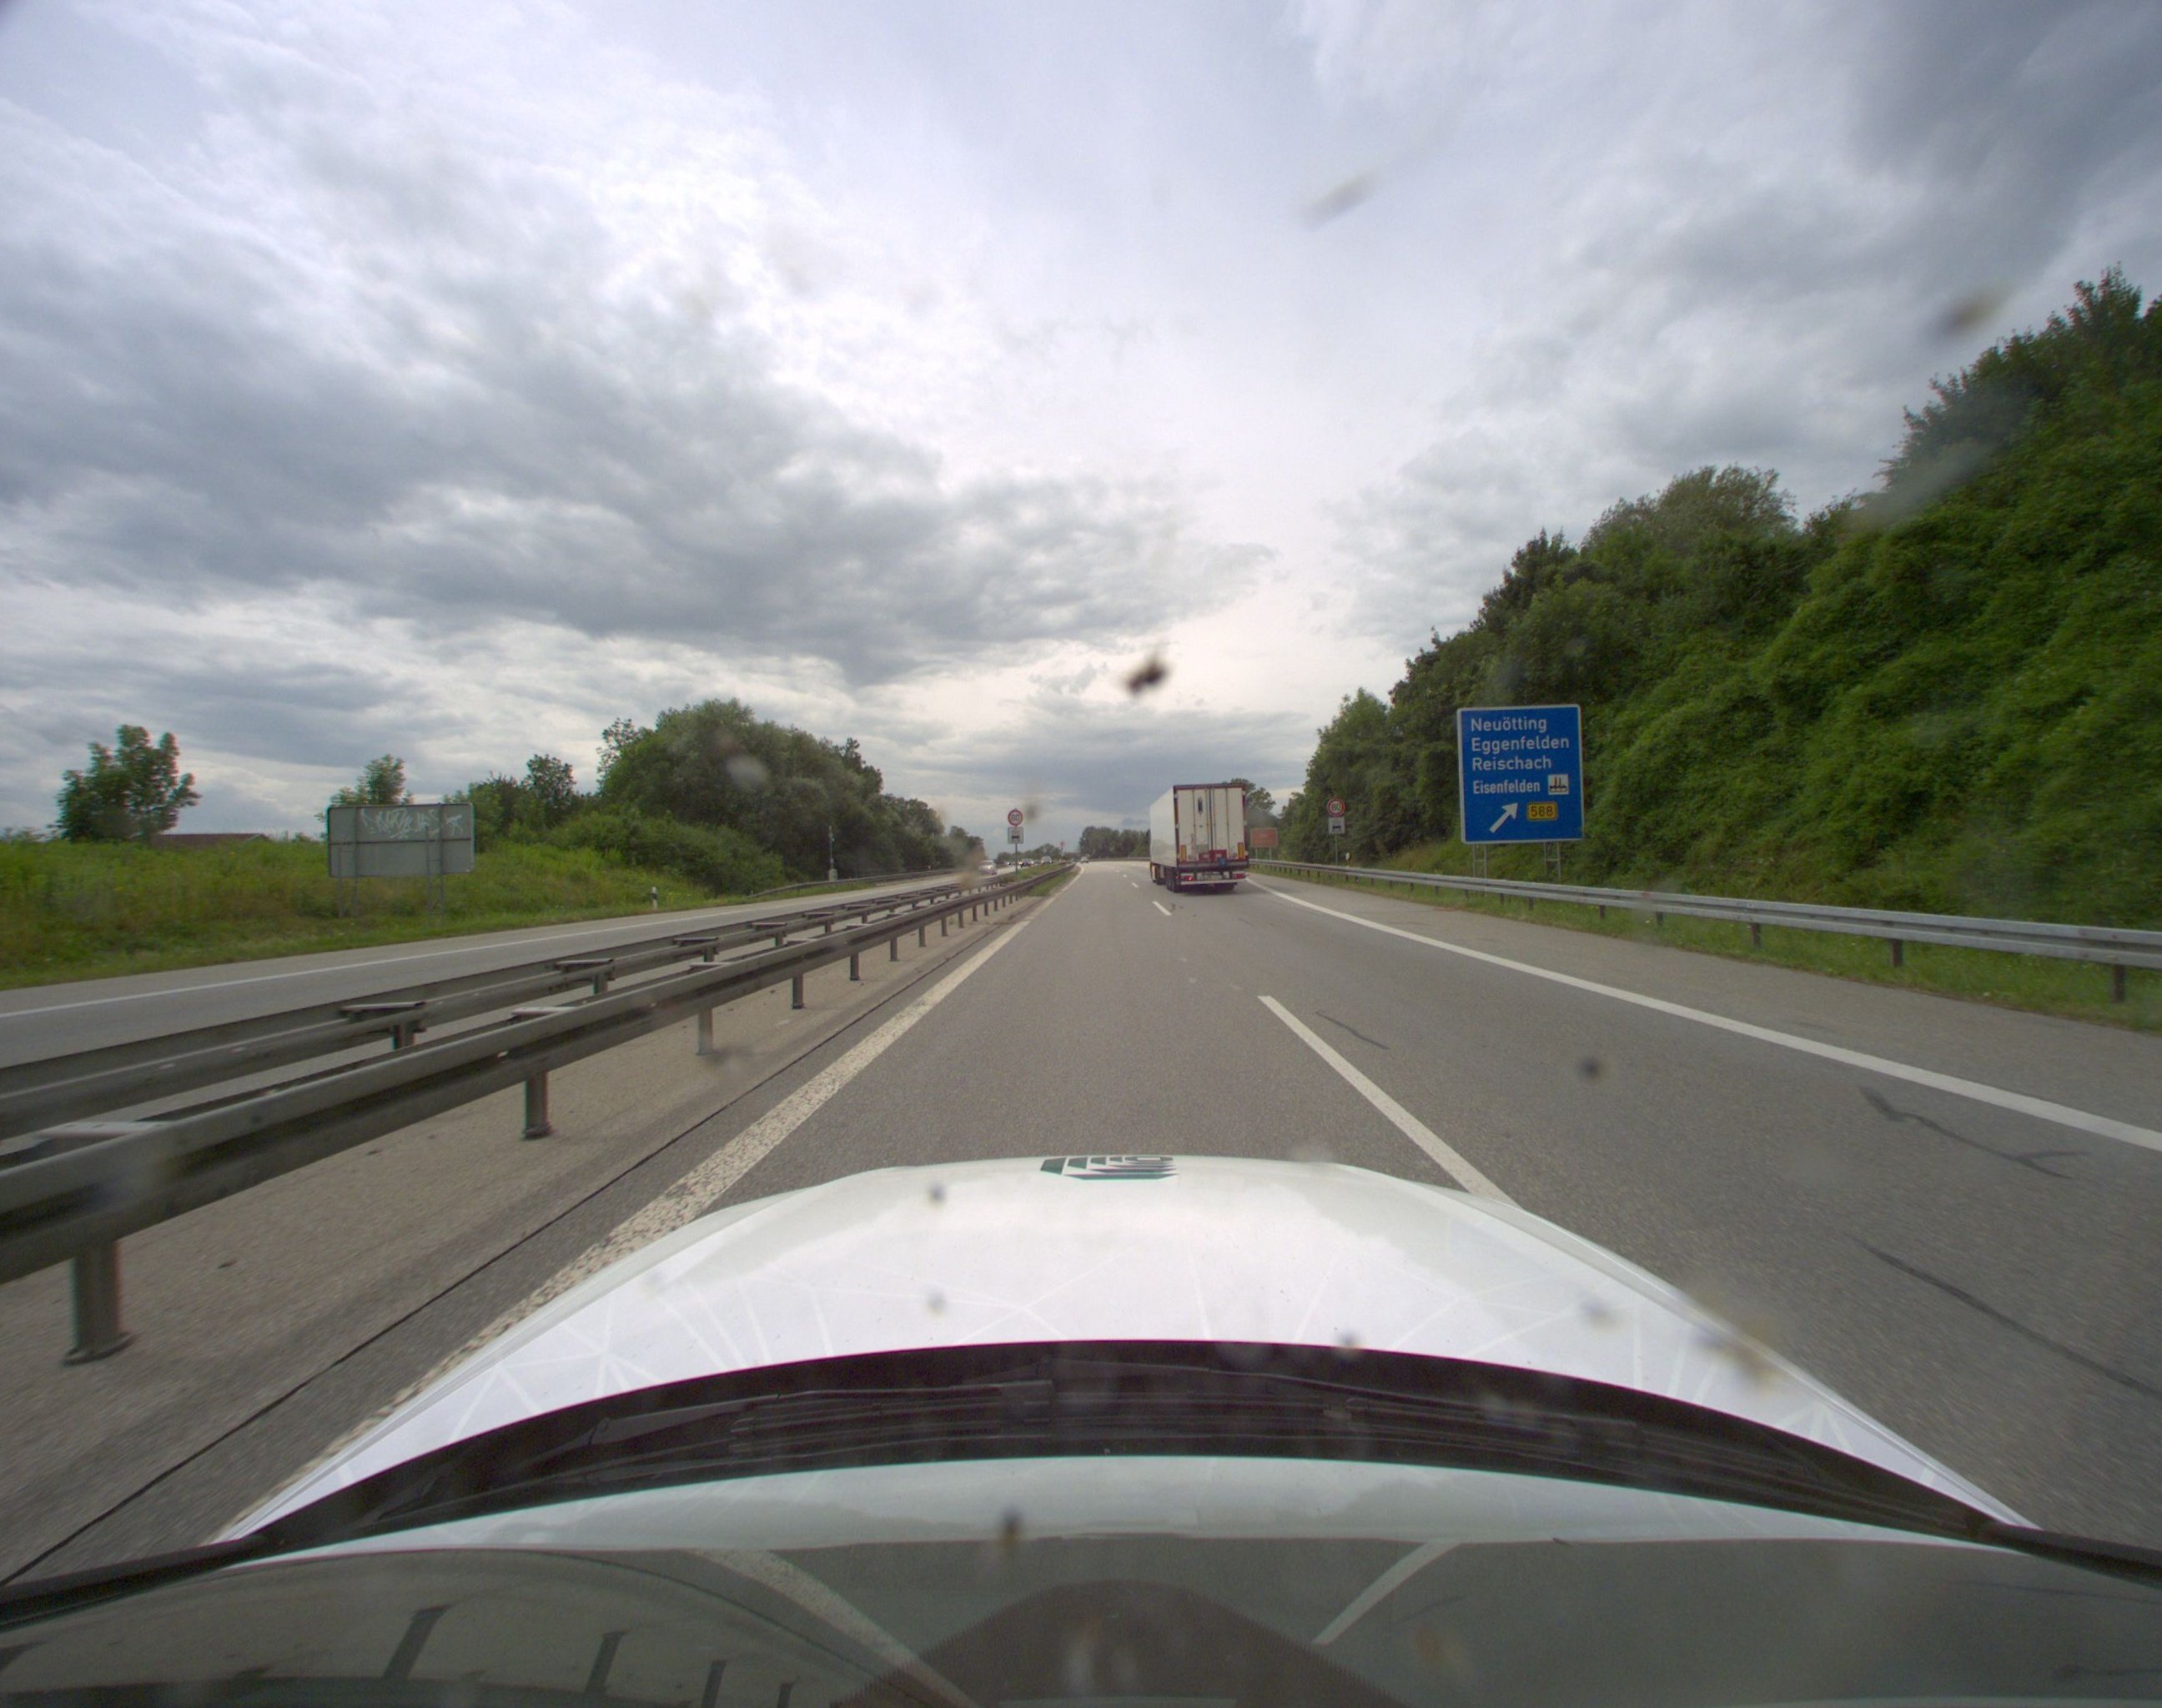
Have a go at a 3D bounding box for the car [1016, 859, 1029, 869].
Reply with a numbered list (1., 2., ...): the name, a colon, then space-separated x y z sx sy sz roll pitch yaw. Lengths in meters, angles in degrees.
1. car: -10.326 1.775 144.295 1.723 1.559 4.332 -3 0 1

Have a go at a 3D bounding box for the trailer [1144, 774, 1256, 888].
1. trailer: 4.741 -0.790 35.651 3.051 3.890 13.793 -2 0 1

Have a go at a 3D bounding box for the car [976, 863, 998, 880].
1. car: -9.359 1.712 81.348 1.644 1.492 4.284 -2 0 1

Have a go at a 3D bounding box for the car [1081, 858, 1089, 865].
1. car: 1.170 2.020 218.312 1.897 1.640 4.392 -3 -1 -2

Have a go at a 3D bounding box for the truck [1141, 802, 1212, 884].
1. truck: 4.928 -0.519 43.125 3.051 3.892 6.001 -2 0 1

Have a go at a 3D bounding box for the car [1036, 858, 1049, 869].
1. car: -6.483 1.557 136.904 1.719 1.650 4.224 -2 0 2
